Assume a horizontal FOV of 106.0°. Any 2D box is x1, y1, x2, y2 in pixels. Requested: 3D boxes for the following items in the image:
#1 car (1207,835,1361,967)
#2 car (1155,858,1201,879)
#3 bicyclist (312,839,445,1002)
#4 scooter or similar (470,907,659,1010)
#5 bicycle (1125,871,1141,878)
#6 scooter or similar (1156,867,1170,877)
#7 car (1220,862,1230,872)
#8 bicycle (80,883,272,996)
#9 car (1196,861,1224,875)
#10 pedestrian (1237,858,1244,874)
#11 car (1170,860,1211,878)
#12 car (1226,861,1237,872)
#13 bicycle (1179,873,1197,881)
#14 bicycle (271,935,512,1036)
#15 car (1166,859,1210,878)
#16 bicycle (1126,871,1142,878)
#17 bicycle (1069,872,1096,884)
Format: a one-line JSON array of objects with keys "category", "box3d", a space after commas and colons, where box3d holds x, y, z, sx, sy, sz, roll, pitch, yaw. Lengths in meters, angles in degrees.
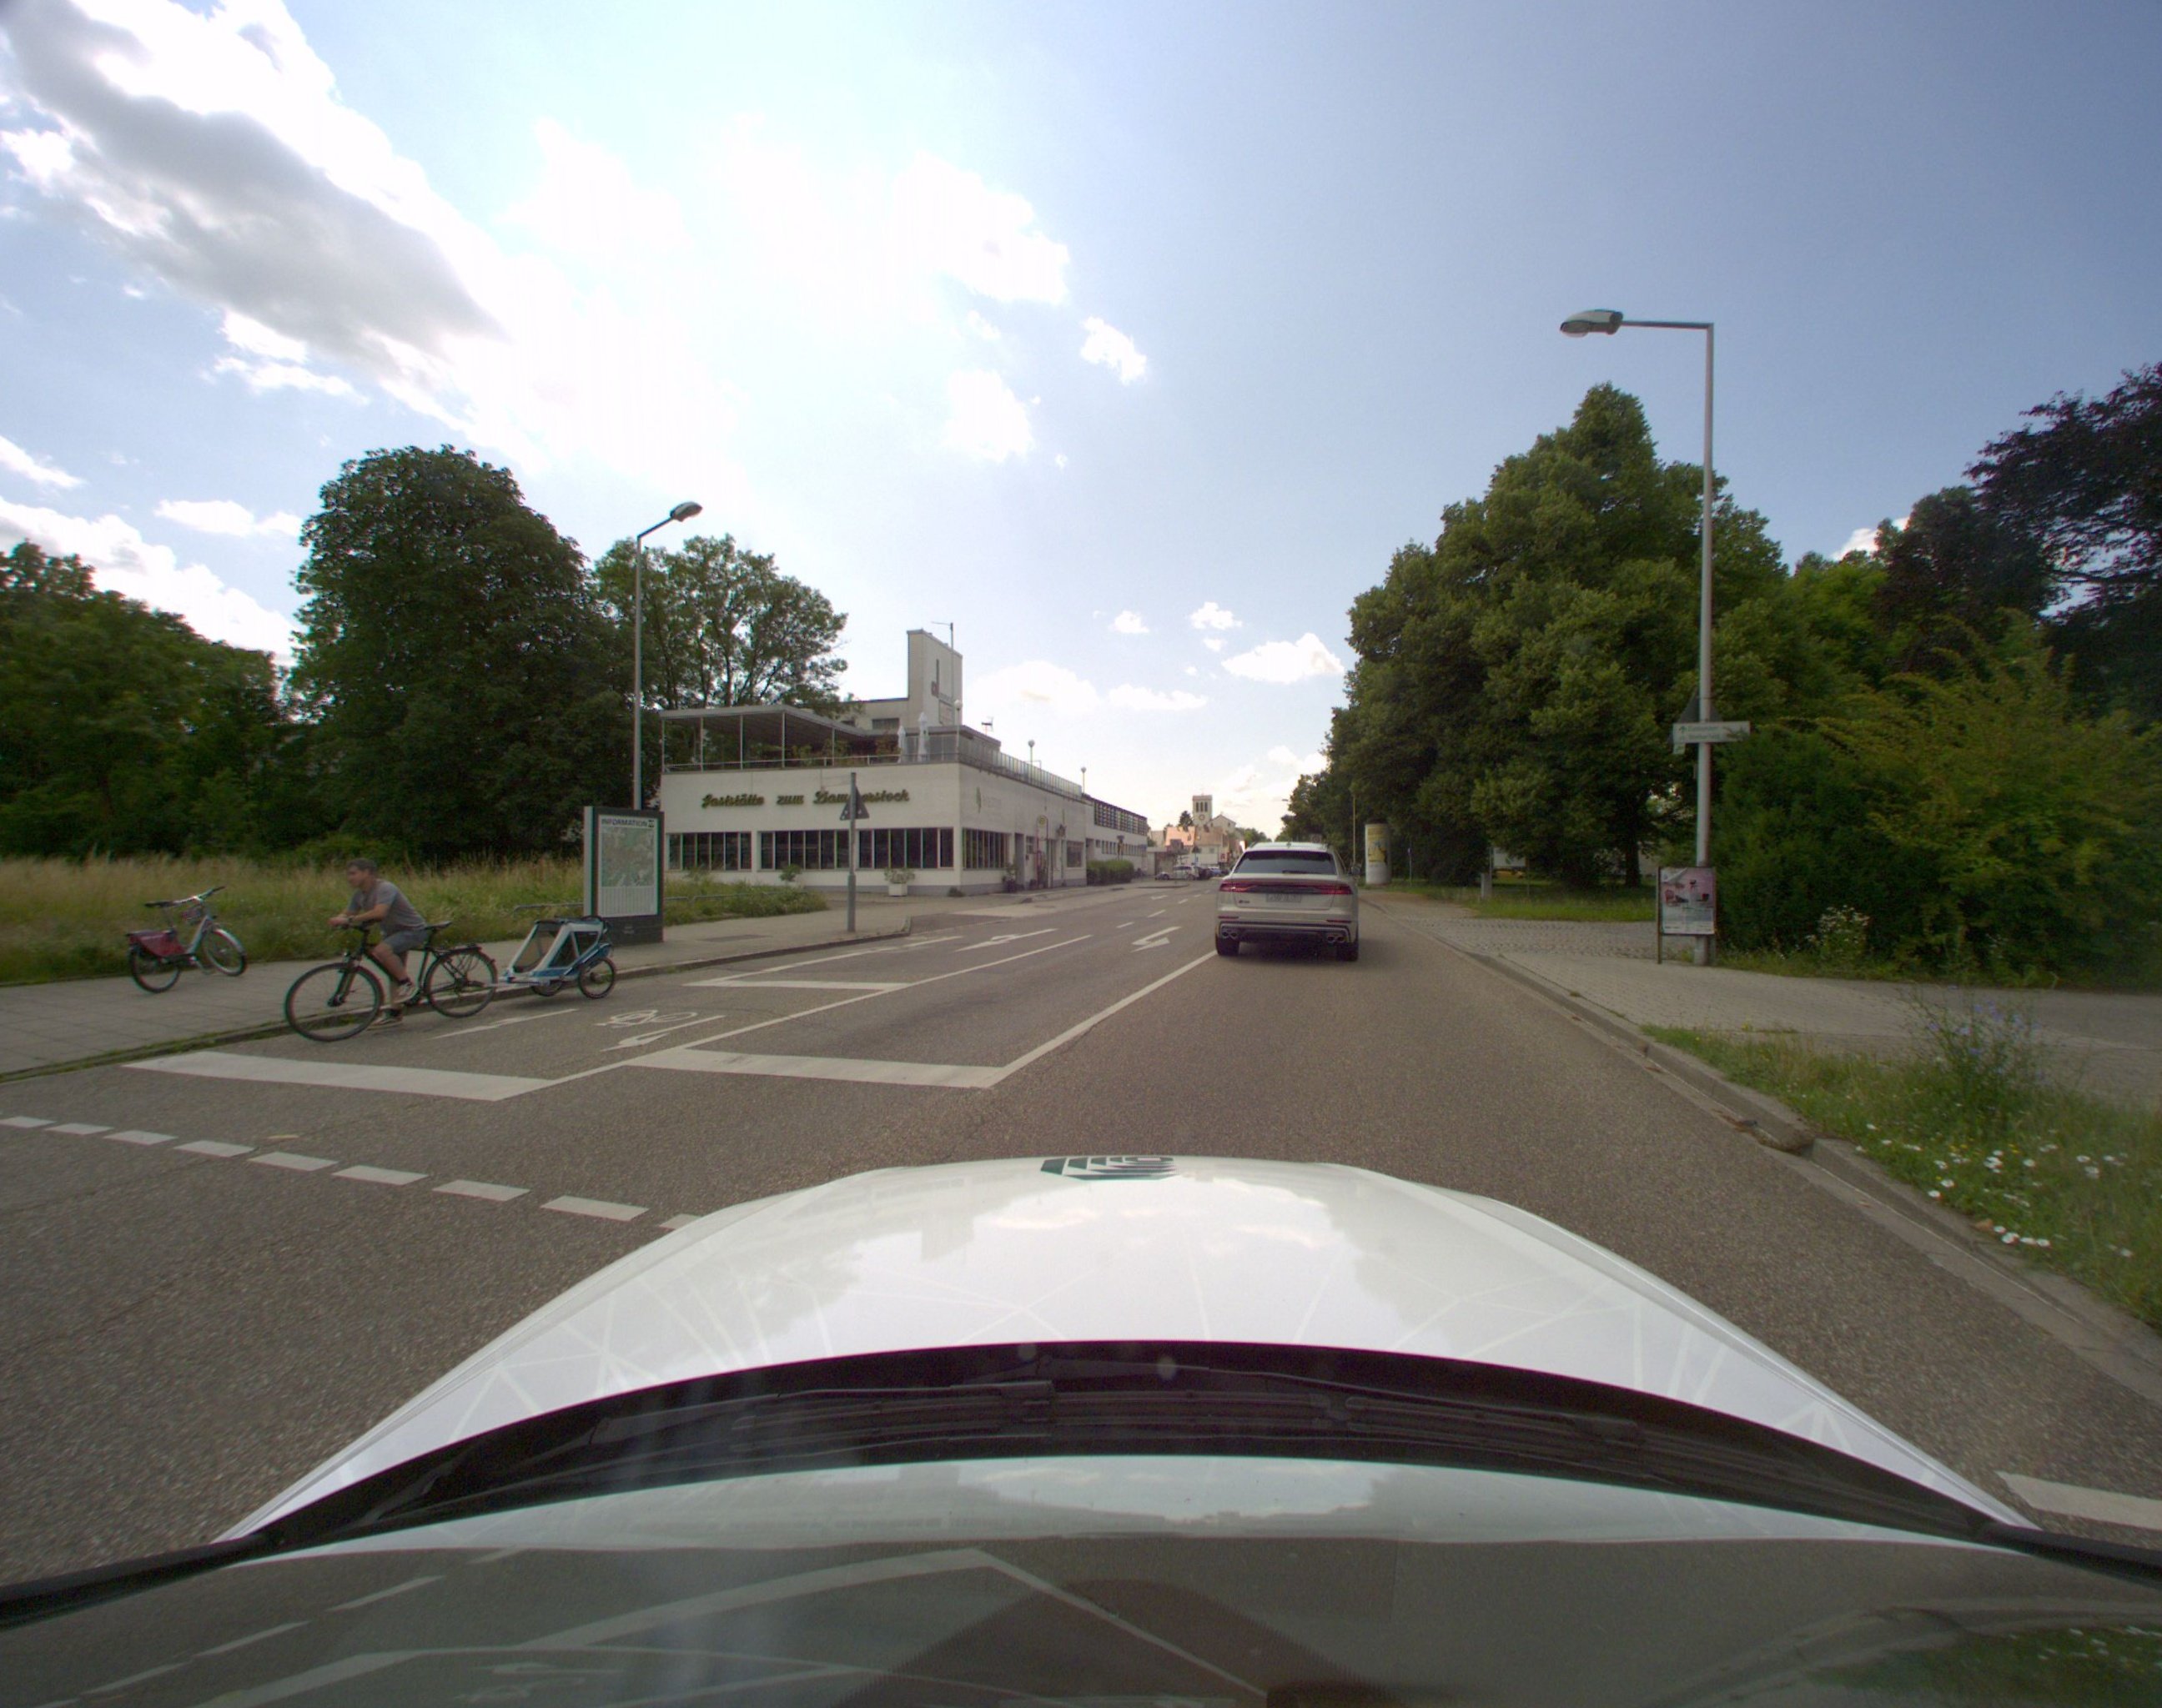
[{"category": "car", "box3d": [3.379, 0.613, 12.941, 1.965, 1.684, 4.595, 0, 0, 18]}, {"category": "car", "box3d": [9.806, 1.493, 82.289, 4.606, 2.014, 2.004, -1, -2, 8]}, {"category": "bicyclist", "box3d": [-6.762, 0.610, 7.867, 0.450, 1.475, 0.846, -1, -1, 23]}, {"category": "scooter or similar", "box3d": [-5.965, 1.159, 9.501, 0.951, 0.979, 1.588, -1, -1, 23]}, {"category": "bicycle", "box3d": [5.776, 2.269, 90.403, 1.671, 0.757, 0.568, 1, -1, -13]}, {"category": "scooter or similar", "box3d": [7.965, 1.745, 78.802, 0.624, 0.996, 1.983, 0, -2, -17]}, {"category": "car", "box3d": [29.200, 2.711, 165.114, 1.981, 2.014, 4.011, -1, -1, 10]}, {"category": "bicycle", "box3d": [-10.672, 0.960, 9.698, 0.700, 1.132, 1.653, 0, 1, -14]}, {"category": "car", "box3d": [19.055, 2.124, 120.437, 3.965, 2.014, 2.004, -1, -1, 7]}, {"category": "pedestrian", "box3d": [22.404, 1.684, 114.172, 0.903, 2.135, 1.018, -1, -1, 14]}, {"category": "car", "box3d": [12.523, 1.765, 93.092, 4.606, 2.014, 2.004, -1, -2, 8]}, {"category": "car", "box3d": [28.782, 2.415, 156.011, 1.981, 2.014, 4.011, -1, -1, 10]}, {"category": "bicycle", "box3d": [10.246, 2.213, 77.886, 1.660, 0.757, 0.571, 1, -1, 8]}, {"category": "bicycle", "box3d": [-6.695, 1.240, 8.032, 0.548, 0.765, 1.737, -1, -2, 23]}, {"category": "car", "box3d": [11.327, 1.565, 86.328, 4.606, 2.014, 2.004, -1, -2, 8]}, {"category": "bicycle", "box3d": [5.866, 2.252, 89.634, 1.671, 0.757, 0.568, 1, -1, -13]}, {"category": "bicycle", "box3d": [0.075, 1.543, 51.826, 1.666, 0.757, 0.410, -1, -1, -5]}]
